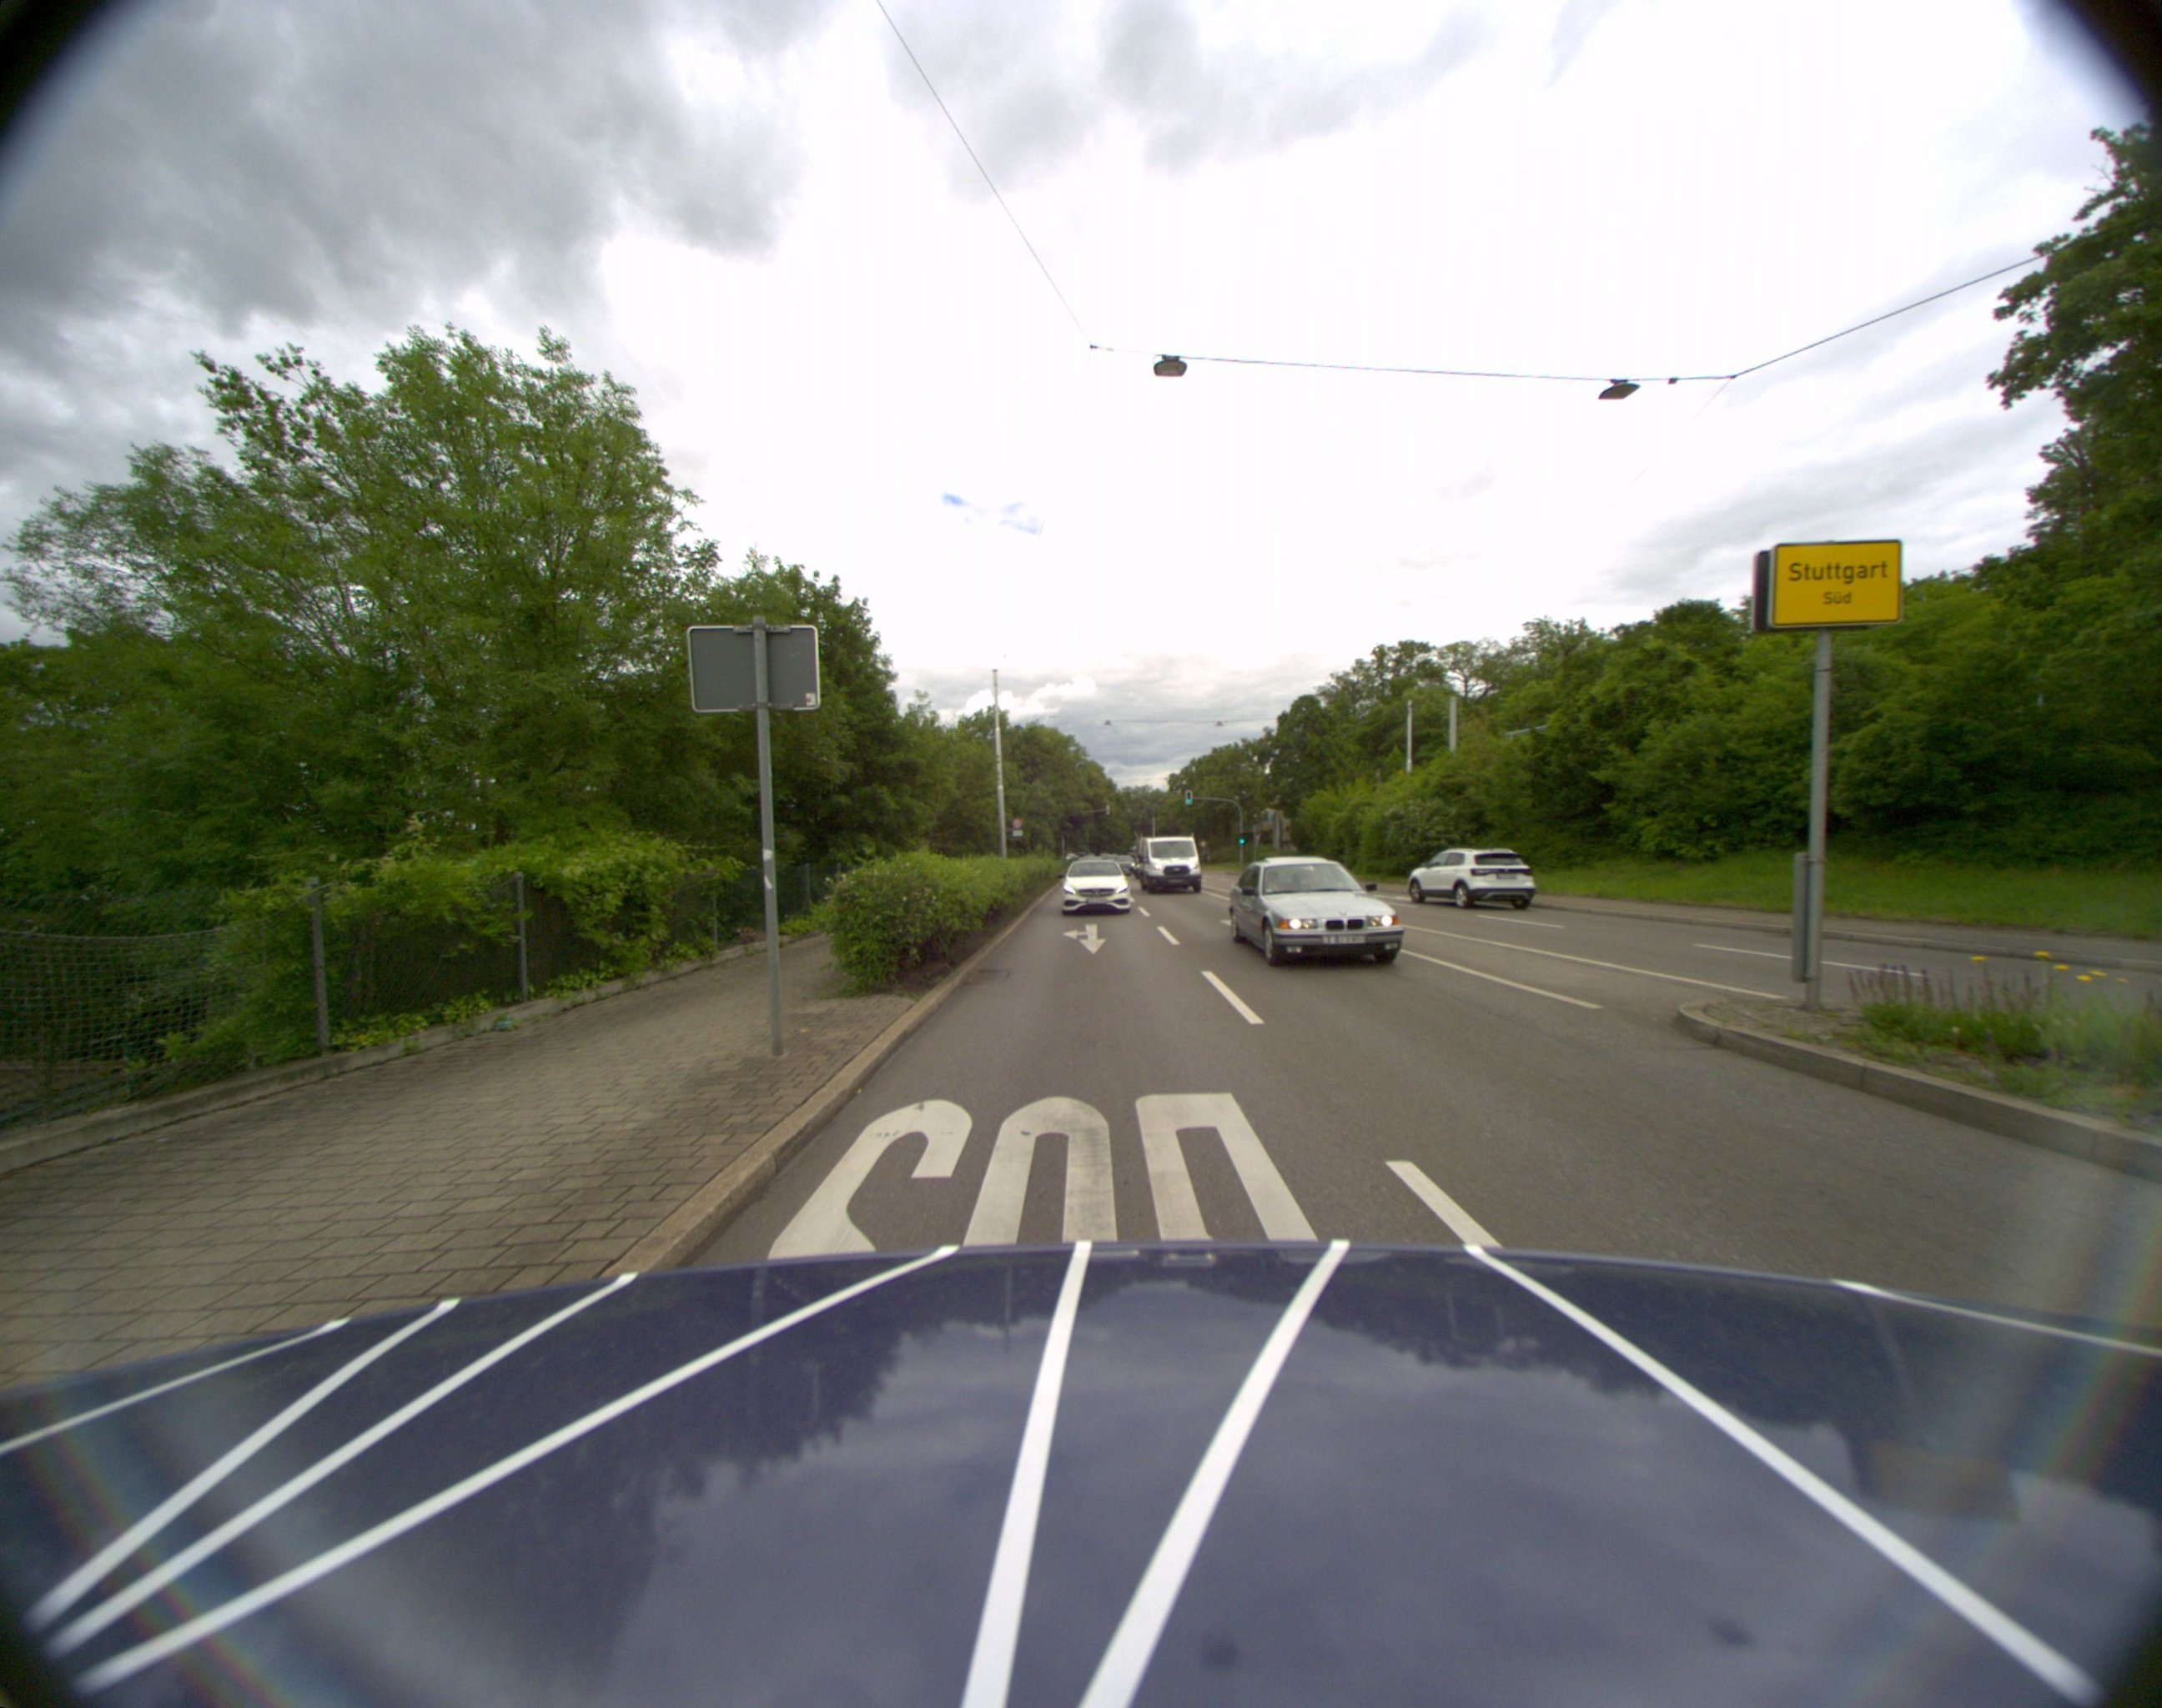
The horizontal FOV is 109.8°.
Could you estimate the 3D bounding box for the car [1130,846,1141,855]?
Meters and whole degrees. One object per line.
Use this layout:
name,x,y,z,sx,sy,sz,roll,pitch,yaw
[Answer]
car,12.688,-0.797,176.449,1.761,1.863,4.620,-1,0,16

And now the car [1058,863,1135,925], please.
car,0.388,0.964,20.149,1.807,1.385,4.284,-1,0,0

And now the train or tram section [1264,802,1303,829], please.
train or tram section,24.938,-4.695,93.998,2.063,3.026,8.147,-3,1,-4

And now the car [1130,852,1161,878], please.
car,4.015,0.673,47.835,1.677,1.532,4.553,-1,0,1

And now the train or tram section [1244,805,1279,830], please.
train or tram section,24.173,-4.890,102.161,2.063,3.026,8.147,-3,1,-4

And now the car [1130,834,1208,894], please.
car,3.434,0.358,31.158,2.253,2.113,6.668,-2,0,-1

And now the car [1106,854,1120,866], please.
car,4.141,0.769,99.106,1.677,1.532,4.615,-1,0,1

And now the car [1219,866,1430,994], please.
car,3.229,0.921,11.095,1.757,1.385,4.615,-1,0,2

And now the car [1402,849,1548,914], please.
car,10.581,0.685,20.764,1.733,1.532,4.042,-2,0,-2

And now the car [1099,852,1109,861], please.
car,3.930,0.431,132.939,1.677,1.532,4.615,-1,0,1

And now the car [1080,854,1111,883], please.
car,0.791,0.811,44.082,1.678,1.532,4.614,-1,0,-1

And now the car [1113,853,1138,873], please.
car,3.643,0.683,62.736,1.678,1.532,4.614,-2,0,-1
